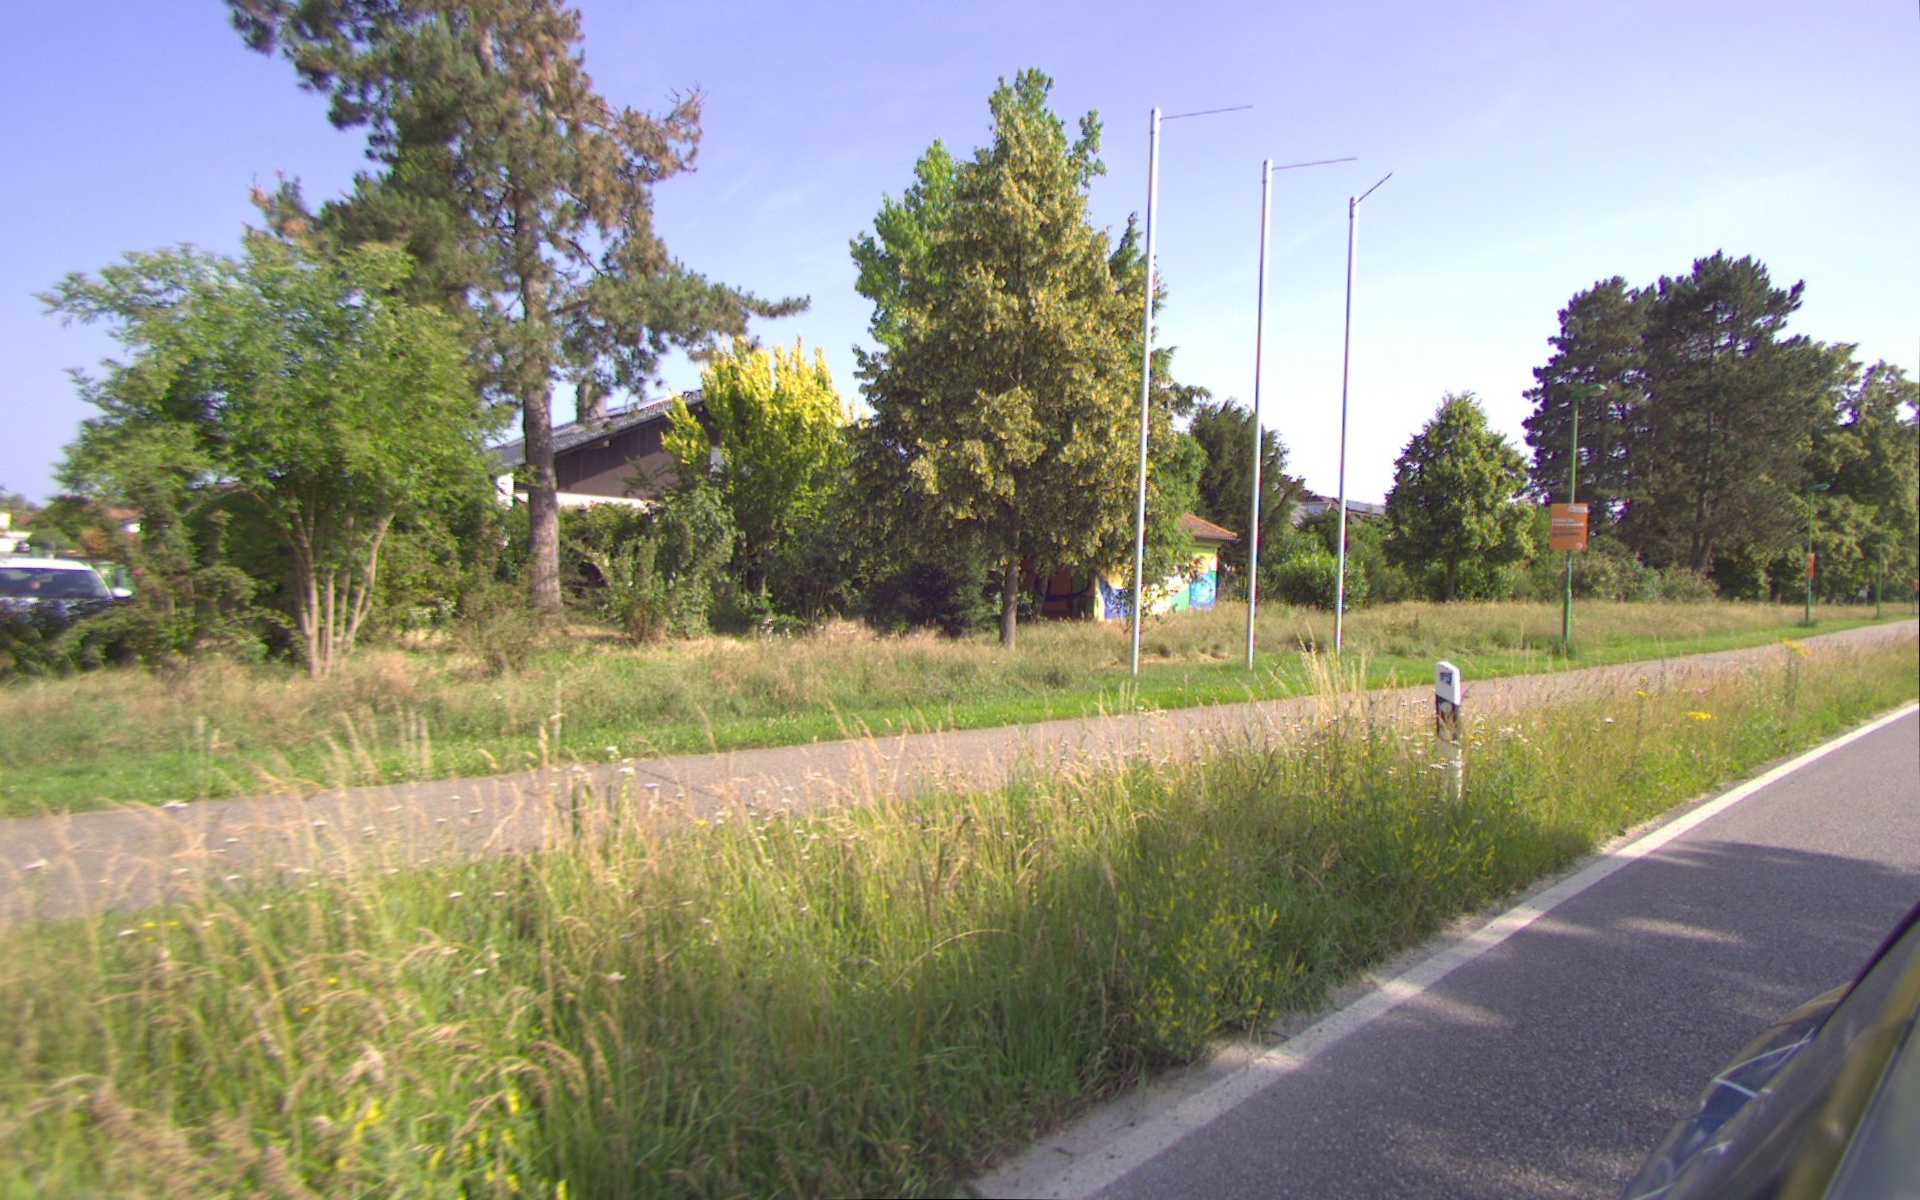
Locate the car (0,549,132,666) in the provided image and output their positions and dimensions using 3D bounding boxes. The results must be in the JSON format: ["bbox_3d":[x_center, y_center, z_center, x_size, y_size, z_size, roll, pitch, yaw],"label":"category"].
[{"bbox_3d":[-13.237,0.020,14.359,3.986,1.452,1.787,3,2,43],"label":"car"}]

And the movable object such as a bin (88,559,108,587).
[{"bbox_3d":[-31.030,-0.988,36.441,0.531,1.000,0.382,0,1,-42],"label":"movable object such as a bin"}]
